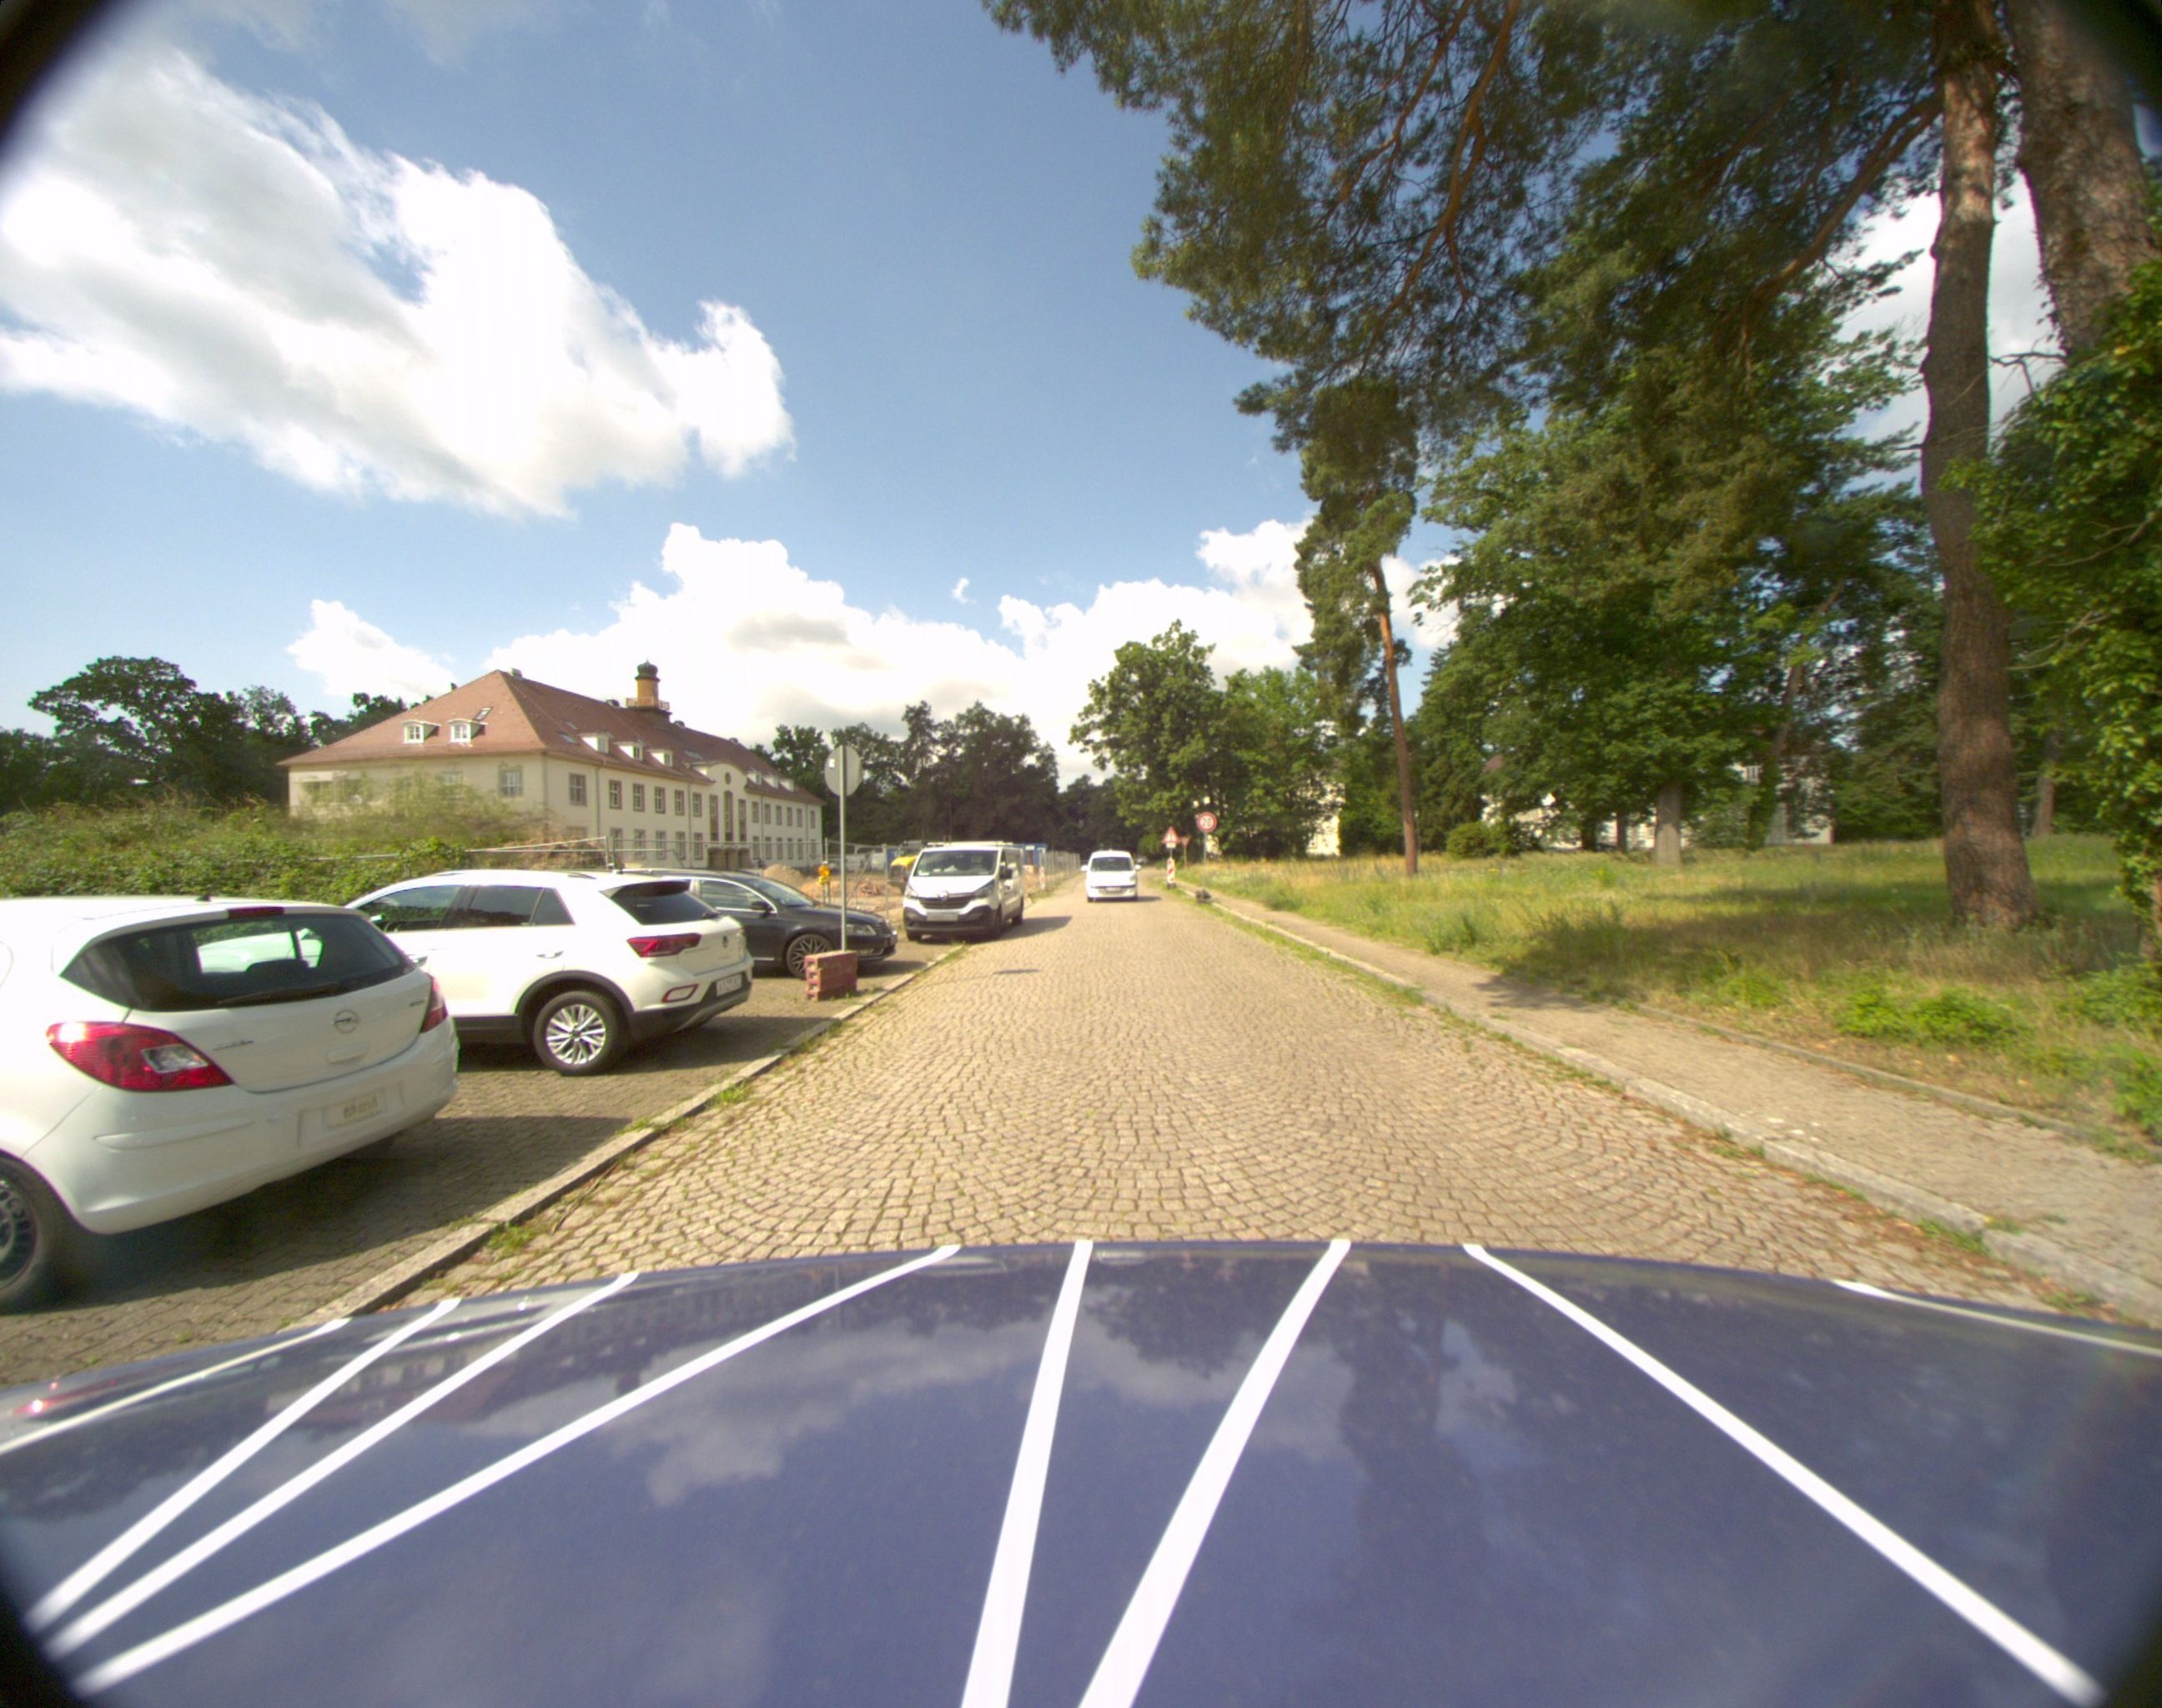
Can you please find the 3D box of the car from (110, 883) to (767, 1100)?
[{"bbox_3d":[-5.008,1.033,6.382,3.997,1.498,1.746,0,1,-1],"label":"car"}]

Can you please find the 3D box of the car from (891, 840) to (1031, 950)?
[{"bbox_3d":[-2.448,0.749,17.112,1.918,2.041,5.679,-1,0,3],"label":"car"}]

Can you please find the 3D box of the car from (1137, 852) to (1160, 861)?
[{"bbox_3d":[12.864,0.496,144.965,4.083,1.634,1.767,-1,1,1],"label":"car"}]

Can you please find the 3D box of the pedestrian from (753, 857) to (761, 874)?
[{"bbox_3d":[-33.703,1.186,79.050,0.490,1.777,0.507,-2,1,25],"label":"pedestrian"}]

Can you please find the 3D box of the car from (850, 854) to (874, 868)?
[{"bbox_3d":[-28.354,0.926,98.487,1.802,1.674,4.040,-1,0,3],"label":"car"}]

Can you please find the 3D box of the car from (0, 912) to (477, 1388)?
[{"bbox_3d":[-5.402,1.053,3.369,4.052,1.455,1.704,0,1,-1],"label":"car"}]

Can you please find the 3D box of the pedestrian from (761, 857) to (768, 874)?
[{"bbox_3d":[-33.549,1.175,80.503,0.491,1.777,0.507,-2,1,-1],"label":"pedestrian"}]

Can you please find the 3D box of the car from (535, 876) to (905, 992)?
[{"bbox_3d":[-4.956,1.086,10.936,4.466,1.466,1.745,0,1,-2],"label":"car"}]

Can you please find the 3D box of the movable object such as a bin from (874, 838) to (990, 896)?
[{"bbox_3d":[-6.892,0.600,35.963,2.144,2.507,5.667,-1,0,31],"label":"movable object such as a bin"}]

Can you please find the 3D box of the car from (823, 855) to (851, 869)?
[{"bbox_3d":[-31.570,0.961,98.501,1.884,1.718,4.708,-1,0,3],"label":"car"}]

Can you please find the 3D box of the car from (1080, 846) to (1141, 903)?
[{"bbox_3d":[0.981,0.732,27.786,1.839,1.857,4.830,-1,-1,-2],"label":"car"}]
